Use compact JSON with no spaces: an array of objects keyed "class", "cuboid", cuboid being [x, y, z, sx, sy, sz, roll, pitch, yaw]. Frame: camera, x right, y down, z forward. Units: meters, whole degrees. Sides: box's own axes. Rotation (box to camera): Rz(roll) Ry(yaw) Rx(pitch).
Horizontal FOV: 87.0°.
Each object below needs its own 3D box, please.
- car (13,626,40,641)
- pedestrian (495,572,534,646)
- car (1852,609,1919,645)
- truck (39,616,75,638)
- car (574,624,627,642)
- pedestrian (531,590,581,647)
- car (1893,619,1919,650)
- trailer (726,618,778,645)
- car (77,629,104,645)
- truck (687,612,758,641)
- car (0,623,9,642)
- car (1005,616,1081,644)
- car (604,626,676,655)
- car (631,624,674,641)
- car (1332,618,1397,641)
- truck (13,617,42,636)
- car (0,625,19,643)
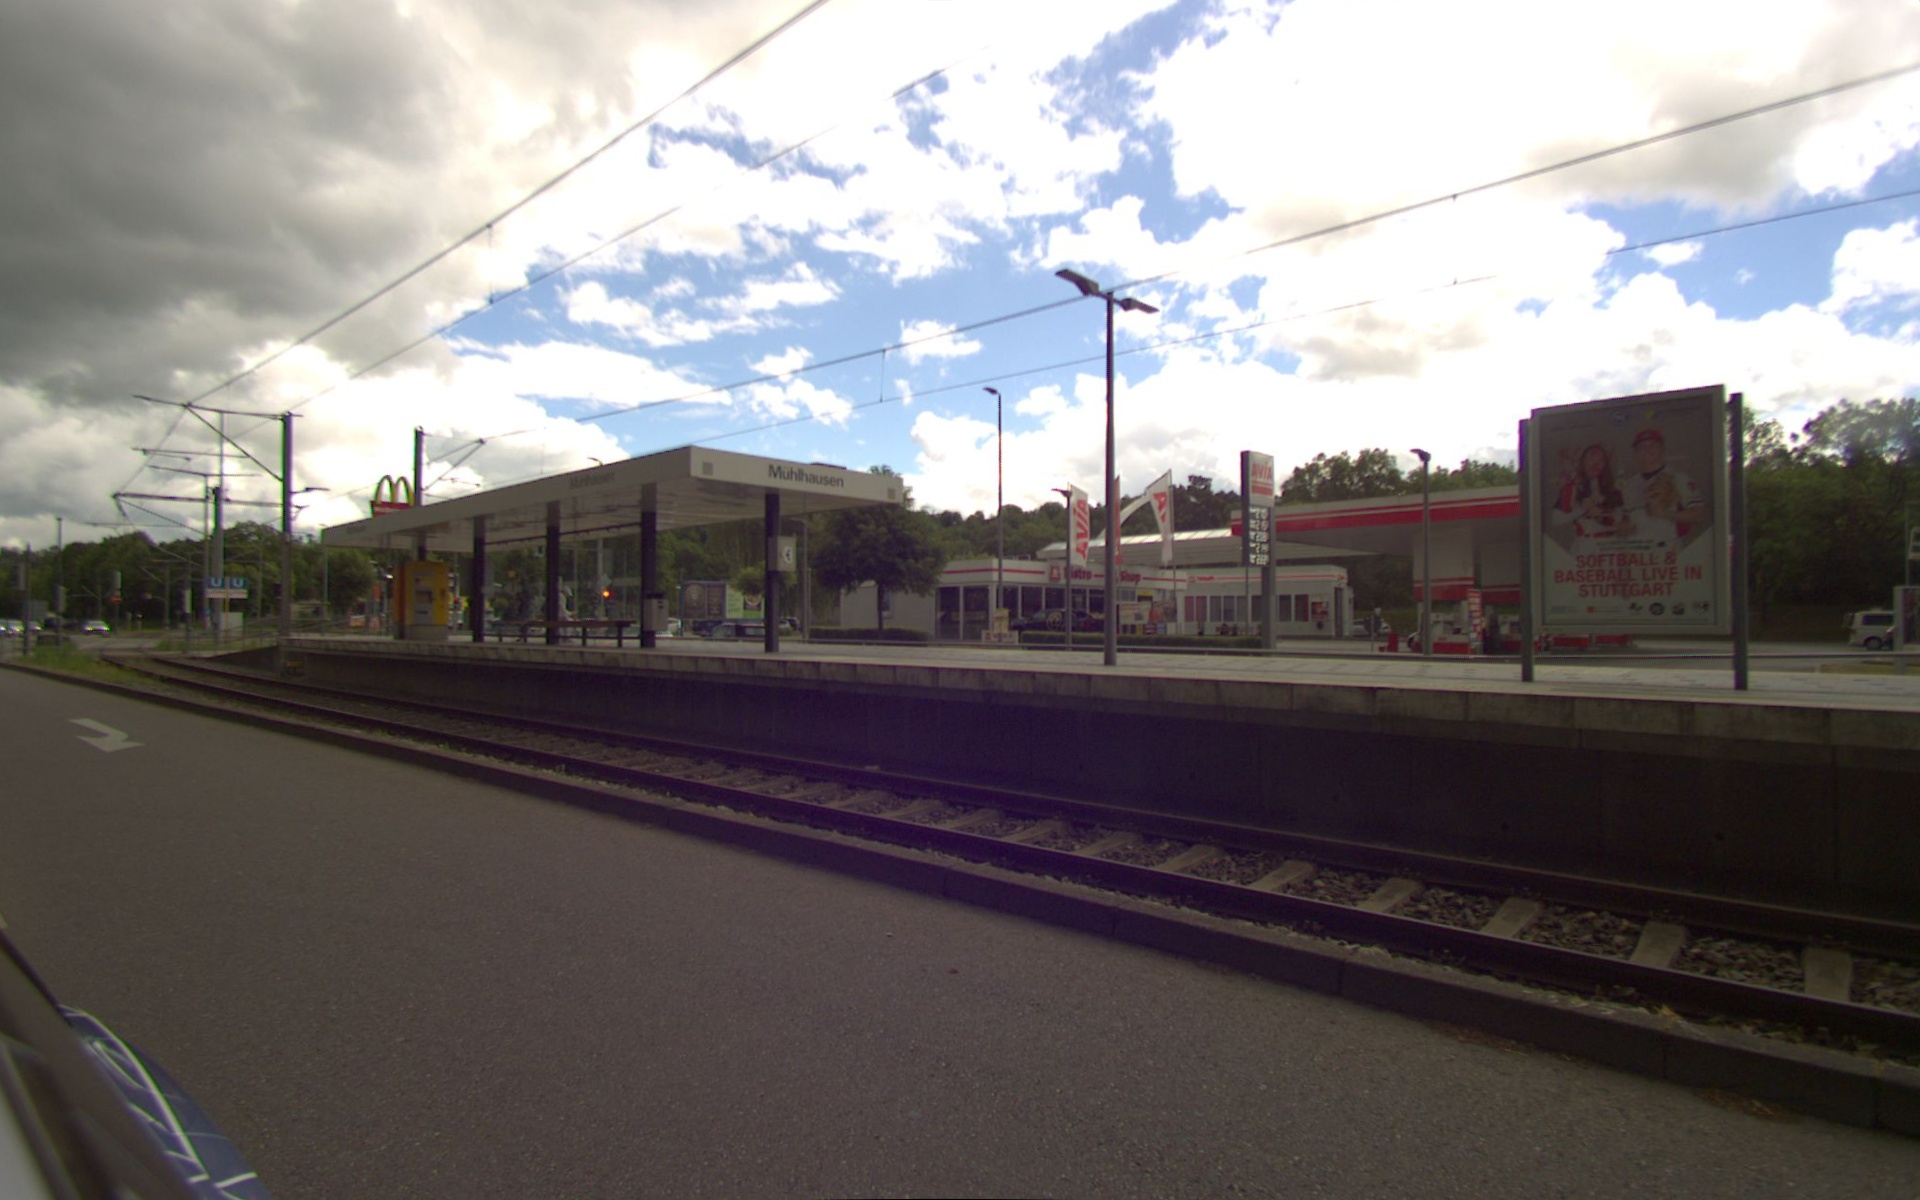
[{"class":"car","cuboid":[-96.497,3.473,104.685,1.803,1.564,4.007,3,-3,-40]},{"class":"pedestrian","cuboid":[-10.037,0.208,22.822,0.572,1.633,0.577,-1,-3,43]},{"class":"car","cuboid":[47.382,1.352,50.630,4.055,1.765,1.890,-1,-3,40]},{"class":"truck","cuboid":[-149.773,4.435,167.801,8.698,3.587,3.389,-1,-3,42]},{"class":"car","cuboid":[-31.573,2.879,89.026,1.788,1.443,4.375,-1,-1,28]},{"class":"pedestrian","cuboid":[-8.668,0.393,21.715,0.728,1.198,0.760,-1,-2,45]},{"class":"car","cuboid":[45.155,1.593,45.917,4.056,1.376,1.890,-1,-3,40]},{"class":"trailer","cuboid":[-18.062,2.759,88.167,1.559,2.275,4.332,-1,-3,41]},{"class":"car","cuboid":[-89.364,3.797,104.036,1.937,1.564,4.007,3,-3,-40]},{"class":"truck","cuboid":[-20.867,2.365,89.183,2.386,2.513,5.743,-1,-2,43]},{"class":"car","cuboid":[-78.569,2.602,81.743,1.967,1.547,4.009,3,-3,-36]},{"class":"car","cuboid":[4.169,1.514,51.080,3.636,1.360,1.595,-2,-2,43]},{"class":"car","cuboid":[-16.019,2.006,50.582,4.029,1.360,1.596,-2,-2,42]},{"class":"car","cuboid":[-29.656,3.095,97.542,1.726,1.566,3.593,-1,-3,39]},{"class":"car","cuboid":[31.351,2.250,78.558,4.431,1.719,1.894,-1,-3,33]},{"class":"truck","cuboid":[-151.996,4.302,164.949,8.309,3.055,2.675,-1,-3,43]},{"class":"car","cuboid":[-82.311,2.901,86.893,1.802,1.564,4.008,3,-3,-38]}]
